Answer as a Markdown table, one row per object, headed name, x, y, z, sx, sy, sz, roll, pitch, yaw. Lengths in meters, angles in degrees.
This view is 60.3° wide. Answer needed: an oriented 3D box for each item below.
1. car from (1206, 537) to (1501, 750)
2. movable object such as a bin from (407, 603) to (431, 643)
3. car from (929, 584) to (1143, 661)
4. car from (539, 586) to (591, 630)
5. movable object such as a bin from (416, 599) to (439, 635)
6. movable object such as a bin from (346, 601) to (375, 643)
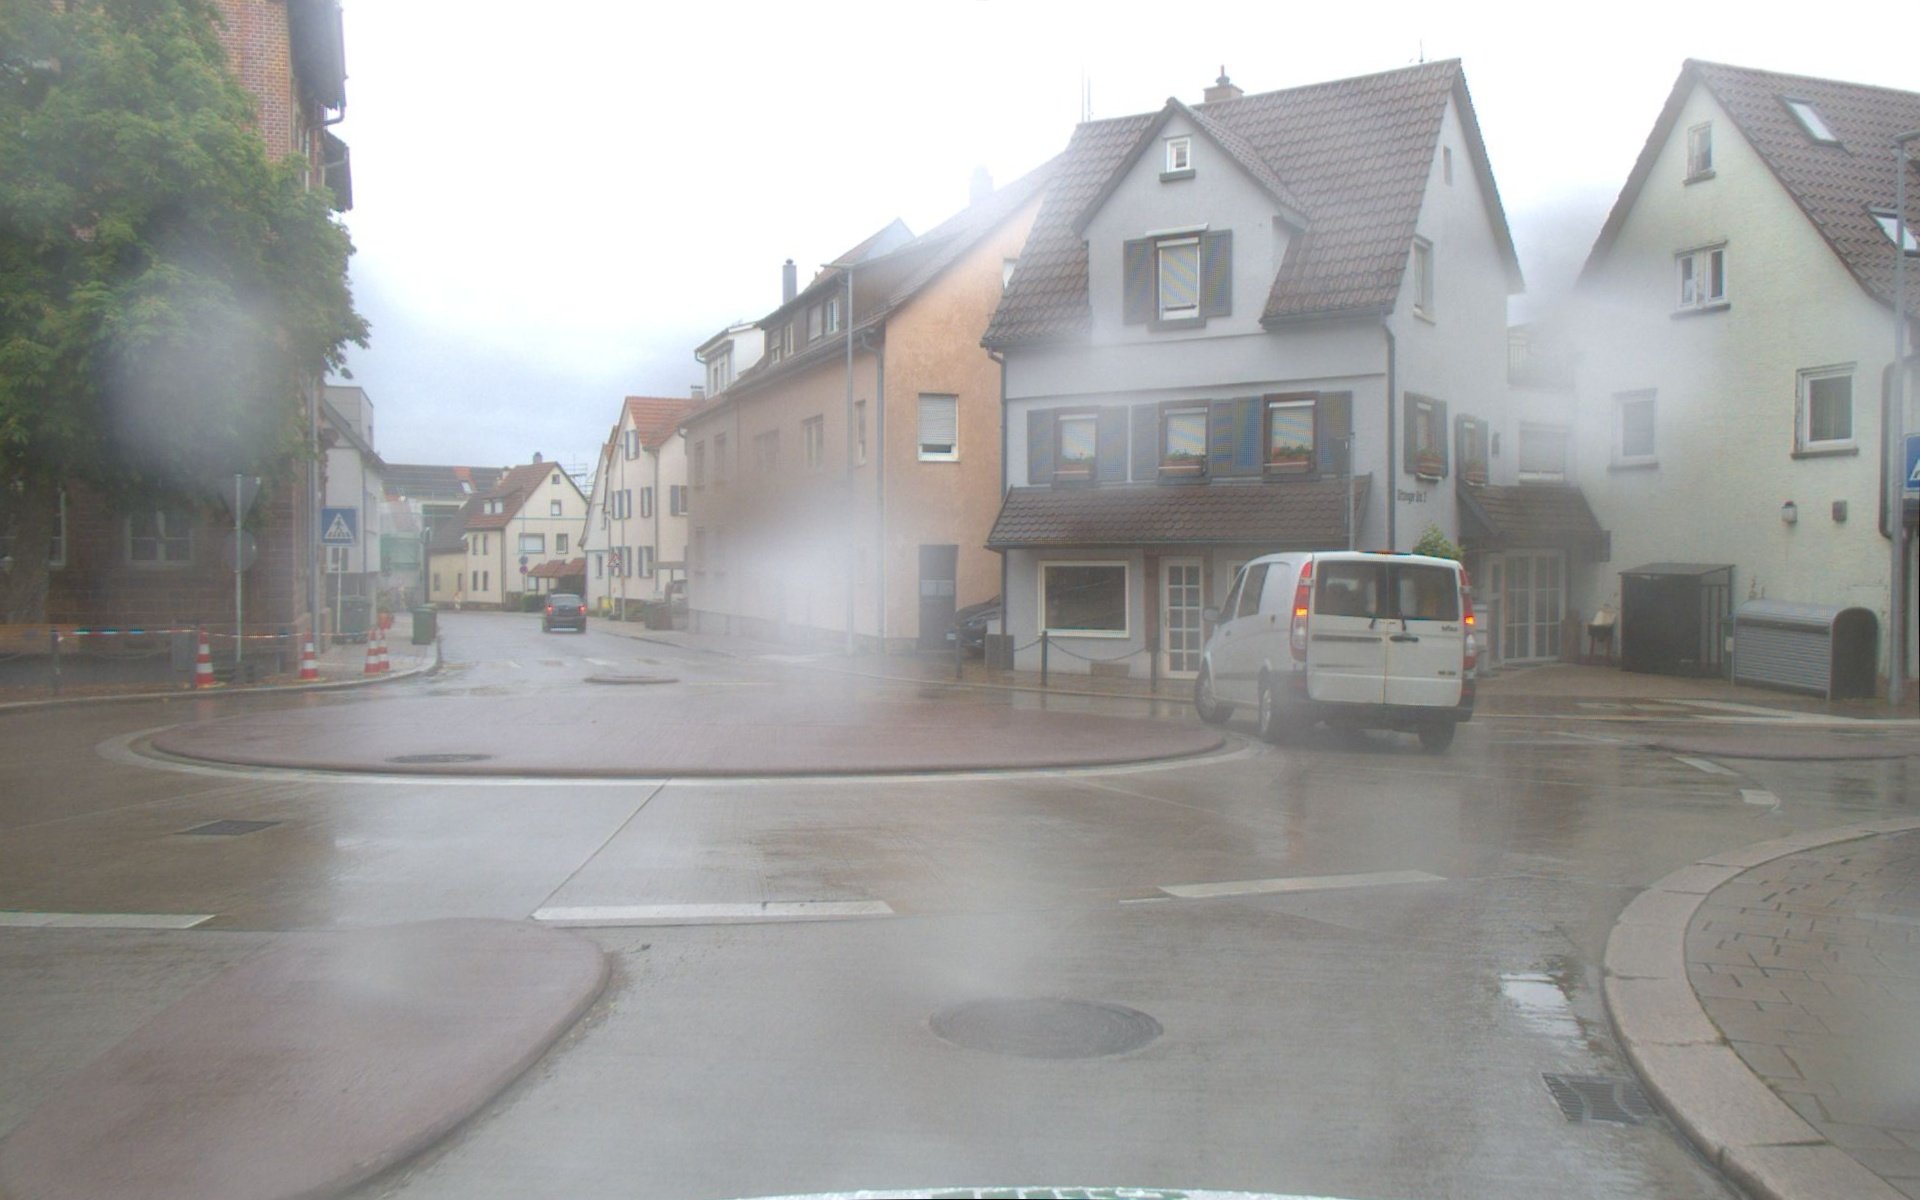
| name | x | y | z | sx | sy | sz | roll | pitch | yaw |
| --- | --- | --- | --- | --- | --- | --- | --- | --- | --- |
| car | 3.939 | 0.422 | 17.498 | 2.108 | 1.932 | 4.926 | 0 | -1 | 2 |
| movable object such as a bin | -16.442 | 0.700 | 50.219 | 0.618 | 1.193 | 0.756 | 1 | -1 | -22 |
| car | 1.554 | 0.464 | 33.927 | 3.935 | 1.512 | 1.985 | 0 | -1 | -24 |
| car | -15.853 | 0.337 | 66.382 | 1.939 | 1.709 | 4.053 | 0 | -1 | -14 |
| movable object such as a bin | -17.738 | 0.570 | 55.058 | 0.645 | 1.189 | 0.776 | 1 | -1 | -22 |
| movable object such as a bin | -17.482 | 0.642 | 48.247 | 0.738 | 1.189 | 0.627 | 1 | -1 | -23 |
